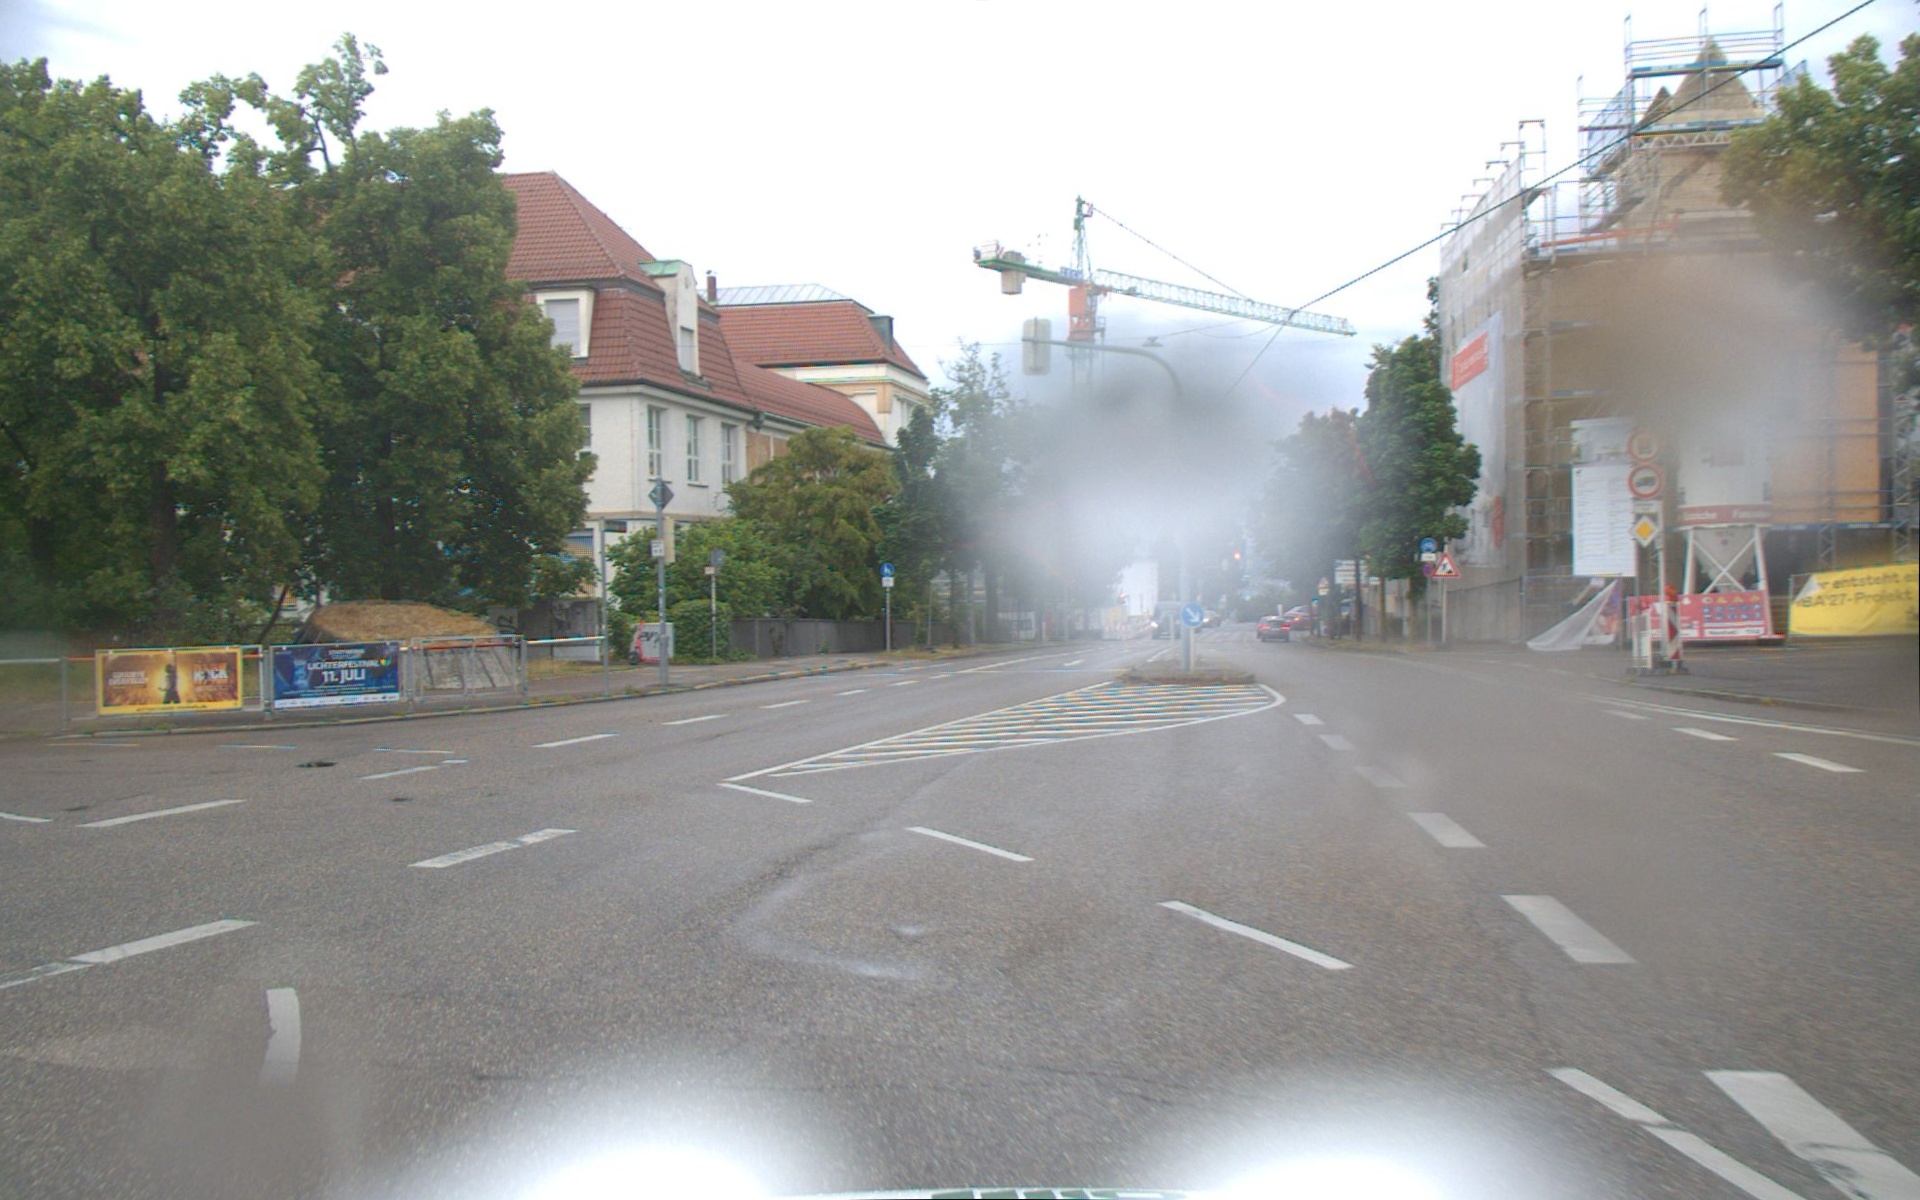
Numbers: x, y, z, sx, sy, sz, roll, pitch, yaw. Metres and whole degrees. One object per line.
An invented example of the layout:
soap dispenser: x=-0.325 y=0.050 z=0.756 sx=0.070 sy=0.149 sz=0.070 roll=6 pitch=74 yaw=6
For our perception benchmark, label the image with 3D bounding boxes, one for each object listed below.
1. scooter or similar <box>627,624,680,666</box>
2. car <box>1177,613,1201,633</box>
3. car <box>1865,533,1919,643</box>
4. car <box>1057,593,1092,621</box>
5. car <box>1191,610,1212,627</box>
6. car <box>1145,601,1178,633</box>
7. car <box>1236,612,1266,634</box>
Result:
scooter or similar: x=-7.074 y=1.037 z=38.201 sx=1.080 sy=0.971 sz=0.530 roll=2 pitch=-2 yaw=-42
car: x=18.510 y=1.847 z=133.537 sx=1.542 sy=1.486 sz=3.540 roll=-1 pitch=0 yaw=15
car: x=19.312 y=-0.265 z=30.685 sx=1.979 sy=2.049 sz=3.946 roll=-2 pitch=0 yaw=-37
car: x=8.653 y=0.545 z=125.004 sx=1.951 sy=2.049 sz=4.003 roll=-1 pitch=0 yaw=15
car: x=21.484 y=1.658 z=147.125 sx=1.468 sy=1.473 sz=3.483 roll=-1 pitch=0 yaw=15
car: x=14.313 y=1.191 z=117.382 sx=1.796 sy=2.250 sz=4.003 roll=-1 pitch=0 yaw=15
car: x=20.509 y=1.585 z=116.545 sx=1.738 sy=1.464 sz=3.874 roll=-1 pitch=0 yaw=15
